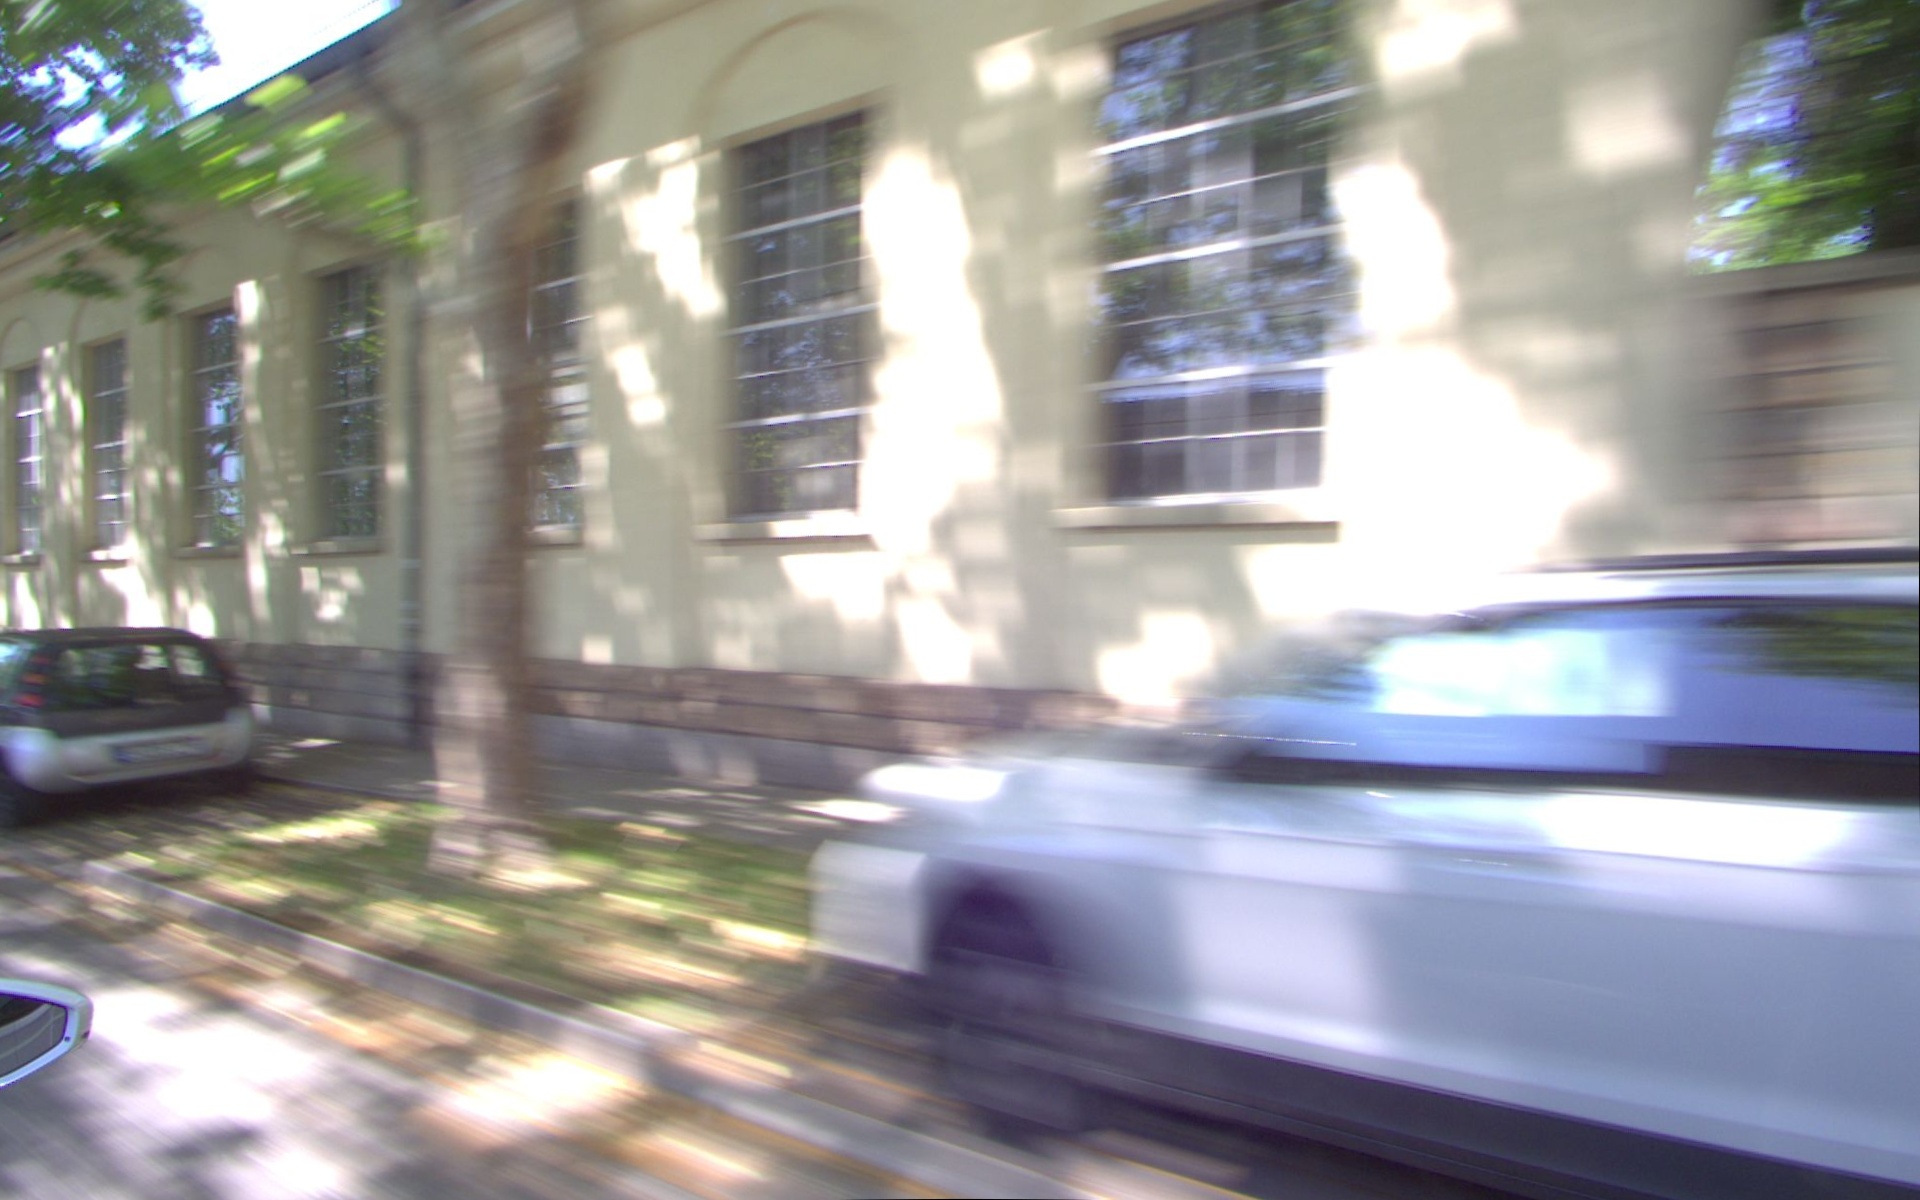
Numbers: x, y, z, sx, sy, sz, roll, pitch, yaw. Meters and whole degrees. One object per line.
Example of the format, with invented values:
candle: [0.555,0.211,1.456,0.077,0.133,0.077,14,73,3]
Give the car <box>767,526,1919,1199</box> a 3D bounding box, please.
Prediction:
car: [1.840,0.652,2.556,4.712,1.578,1.736,0,1,33]

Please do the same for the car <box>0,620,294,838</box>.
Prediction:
car: [-7.807,0.931,8.765,4.369,1.459,1.618,-1,1,32]
